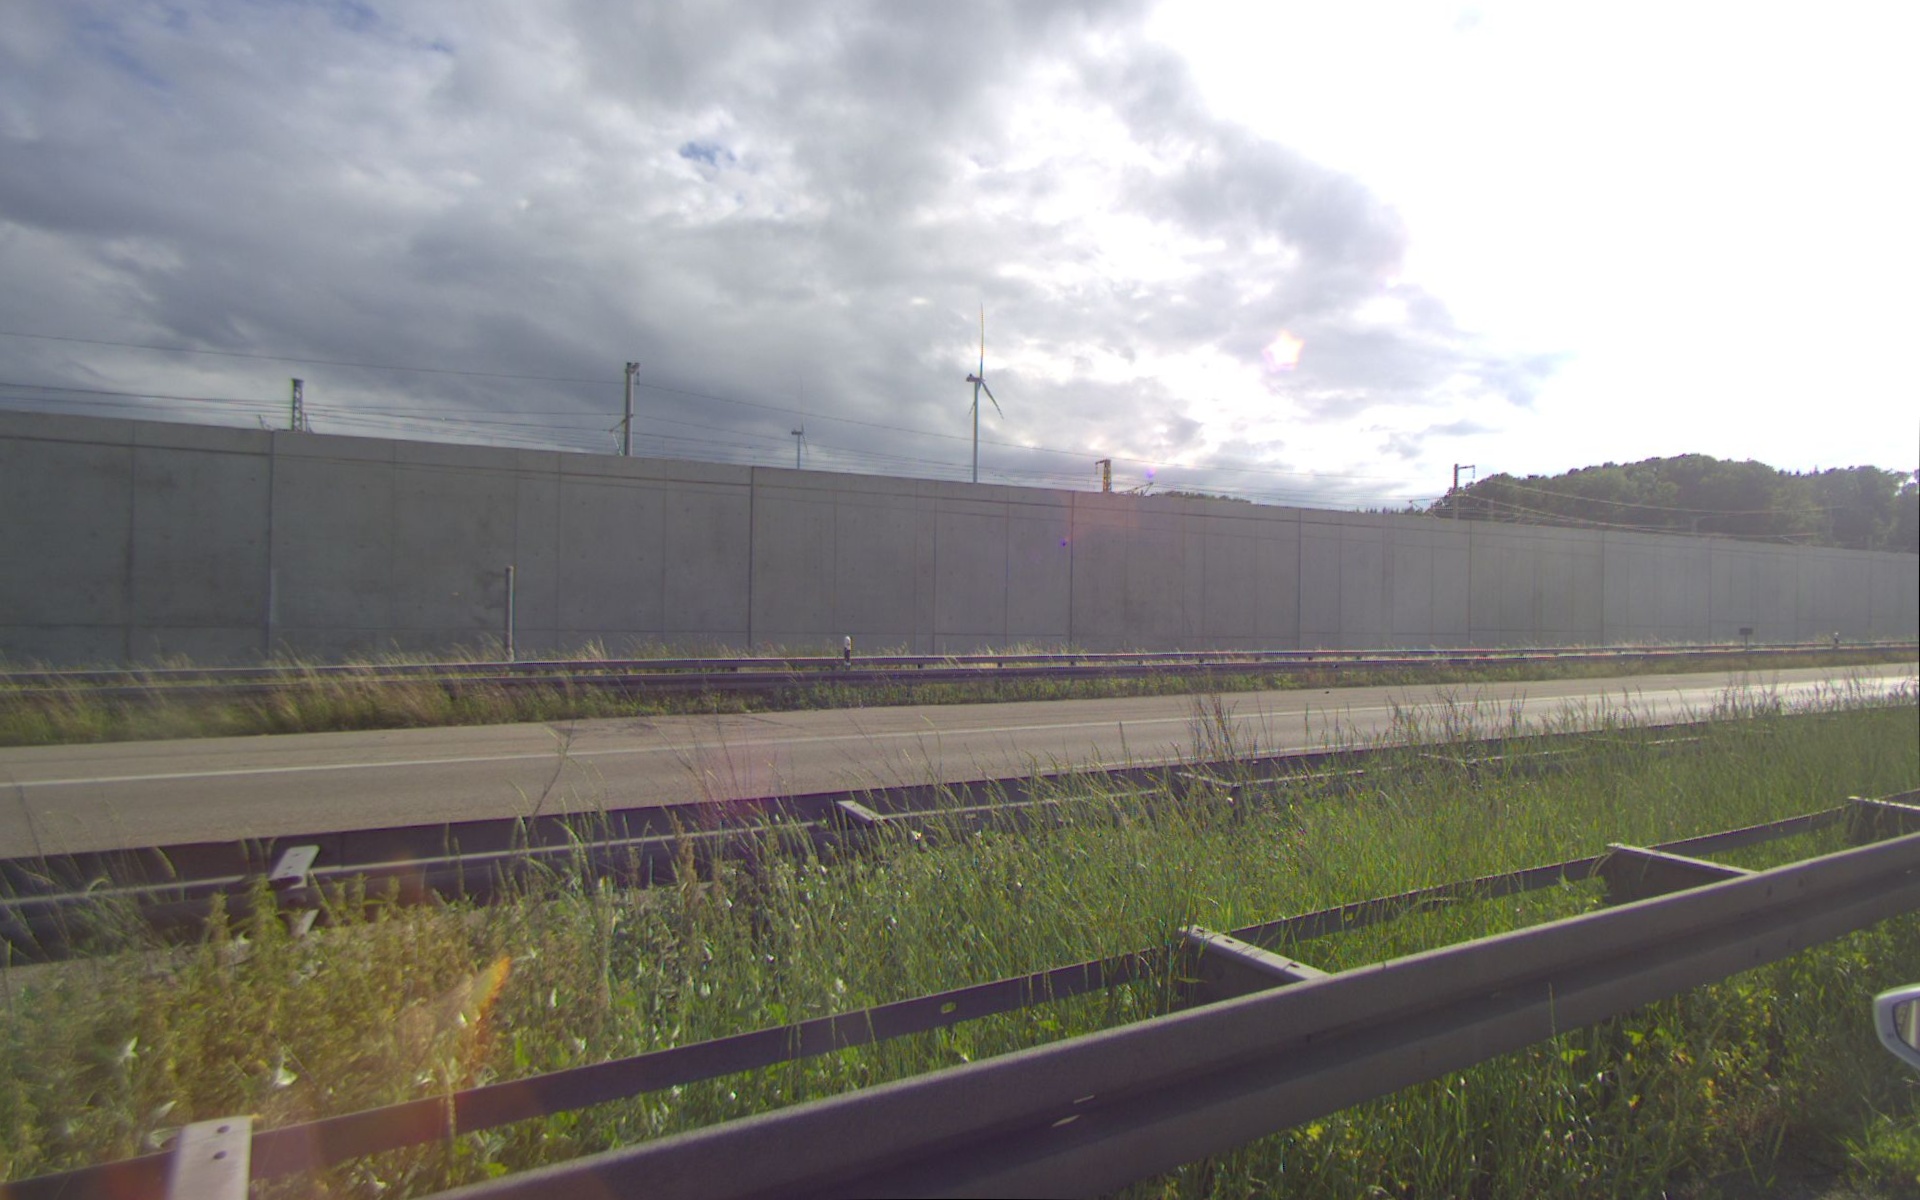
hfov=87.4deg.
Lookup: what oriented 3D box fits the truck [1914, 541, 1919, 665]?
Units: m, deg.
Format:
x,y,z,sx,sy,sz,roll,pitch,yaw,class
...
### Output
x,y,z,sx,sy,sz,roll,pitch,yaw,class
35.025,0.114,33.840,5.468,4.141,2.763,1,-3,-31,truck
